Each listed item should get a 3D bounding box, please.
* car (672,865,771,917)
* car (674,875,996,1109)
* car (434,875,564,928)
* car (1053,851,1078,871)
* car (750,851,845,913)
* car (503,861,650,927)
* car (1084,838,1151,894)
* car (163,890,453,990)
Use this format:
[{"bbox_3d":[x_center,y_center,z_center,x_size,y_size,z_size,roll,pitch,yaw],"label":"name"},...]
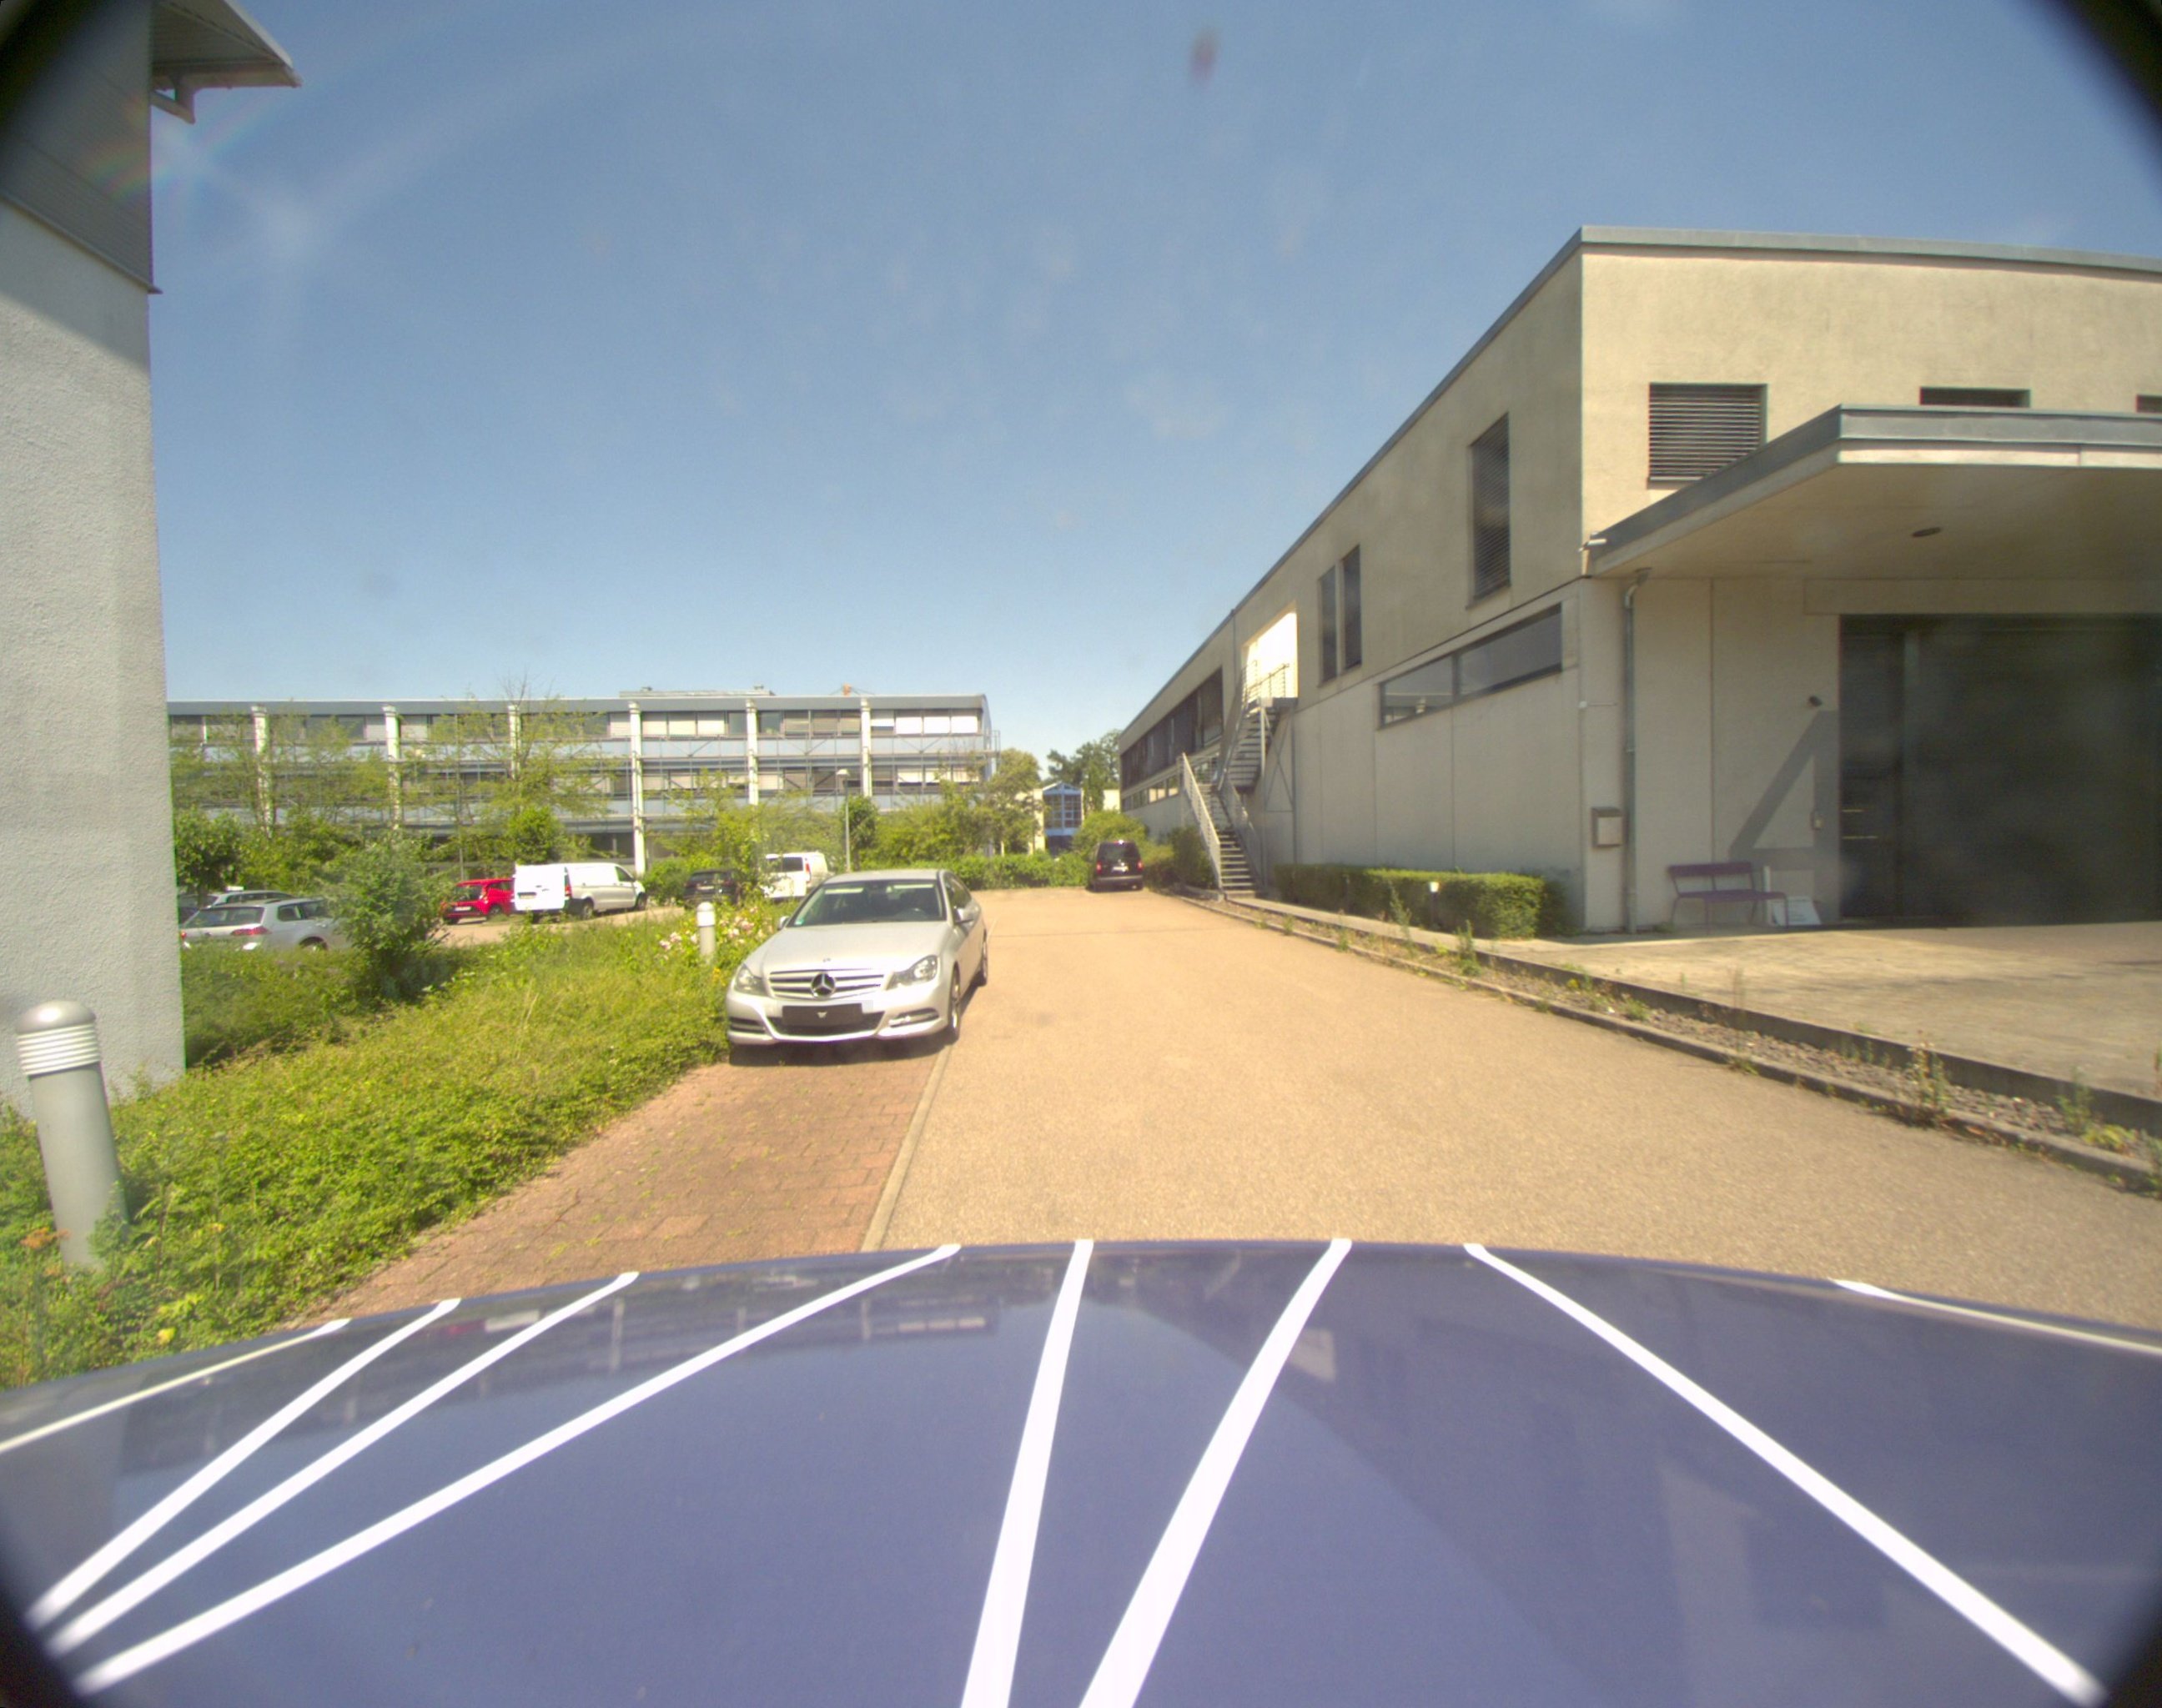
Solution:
[{"bbox_3d":[-12.607,1.244,26.933,1.739,1.475,4.195,-3,1,-5],"label":"car"},{"bbox_3d":[-1.967,1.027,7.541,1.804,1.390,4.418,-2,1,-2],"label":"car"},{"bbox_3d":[-20.396,1.609,26.851,1.624,1.479,3.919,-3,1,-3],"label":"car"},{"bbox_3d":[-1.449,0.633,71.183,1.837,1.558,3.996,-2,2,-8],"label":"car"},{"bbox_3d":[-9.810,0.899,26.696,1.868,1.849,4.674,-3,1,-5],"label":"car"},{"bbox_3d":[-17.159,1.280,26.201,1.856,1.845,4.932,-3,1,-3],"label":"car"},{"bbox_3d":[1.278,0.393,28.451,1.868,1.849,4.226,-3,1,-5],"label":"car"},{"bbox_3d":[-16.078,1.693,16.236,1.856,1.511,4.425,-3,0,-5],"label":"car"}]
